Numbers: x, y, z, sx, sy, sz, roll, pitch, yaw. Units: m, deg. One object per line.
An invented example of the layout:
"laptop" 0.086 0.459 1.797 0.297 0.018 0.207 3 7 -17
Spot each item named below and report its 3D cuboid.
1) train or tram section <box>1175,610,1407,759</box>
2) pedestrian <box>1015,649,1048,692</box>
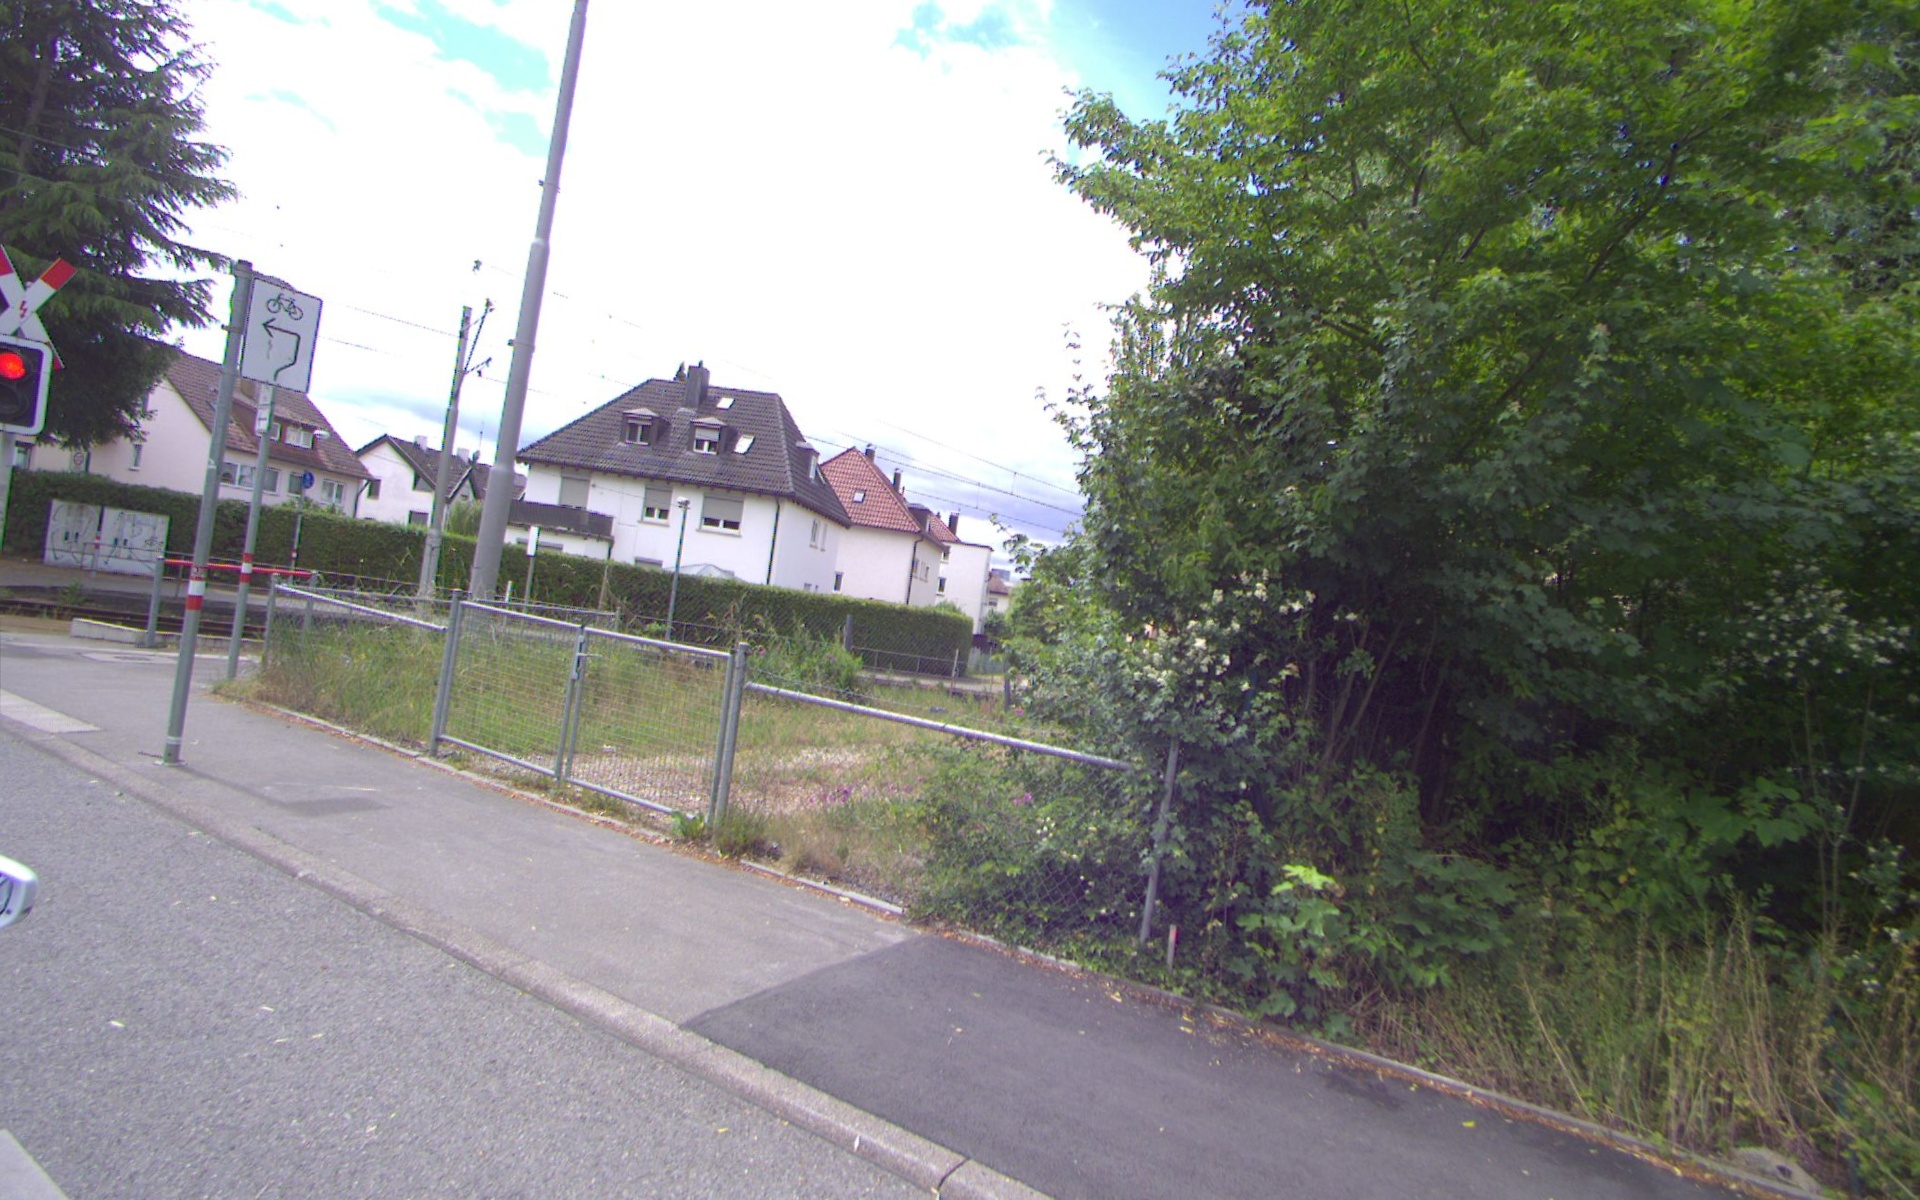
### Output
"train or tram section" 10.840 2.805 32.530 7.655 3.762 2.842 10 -3 -36
"pedestrian" 3.189 3.135 44.765 0.910 1.707 0.925 8 -1 -31
